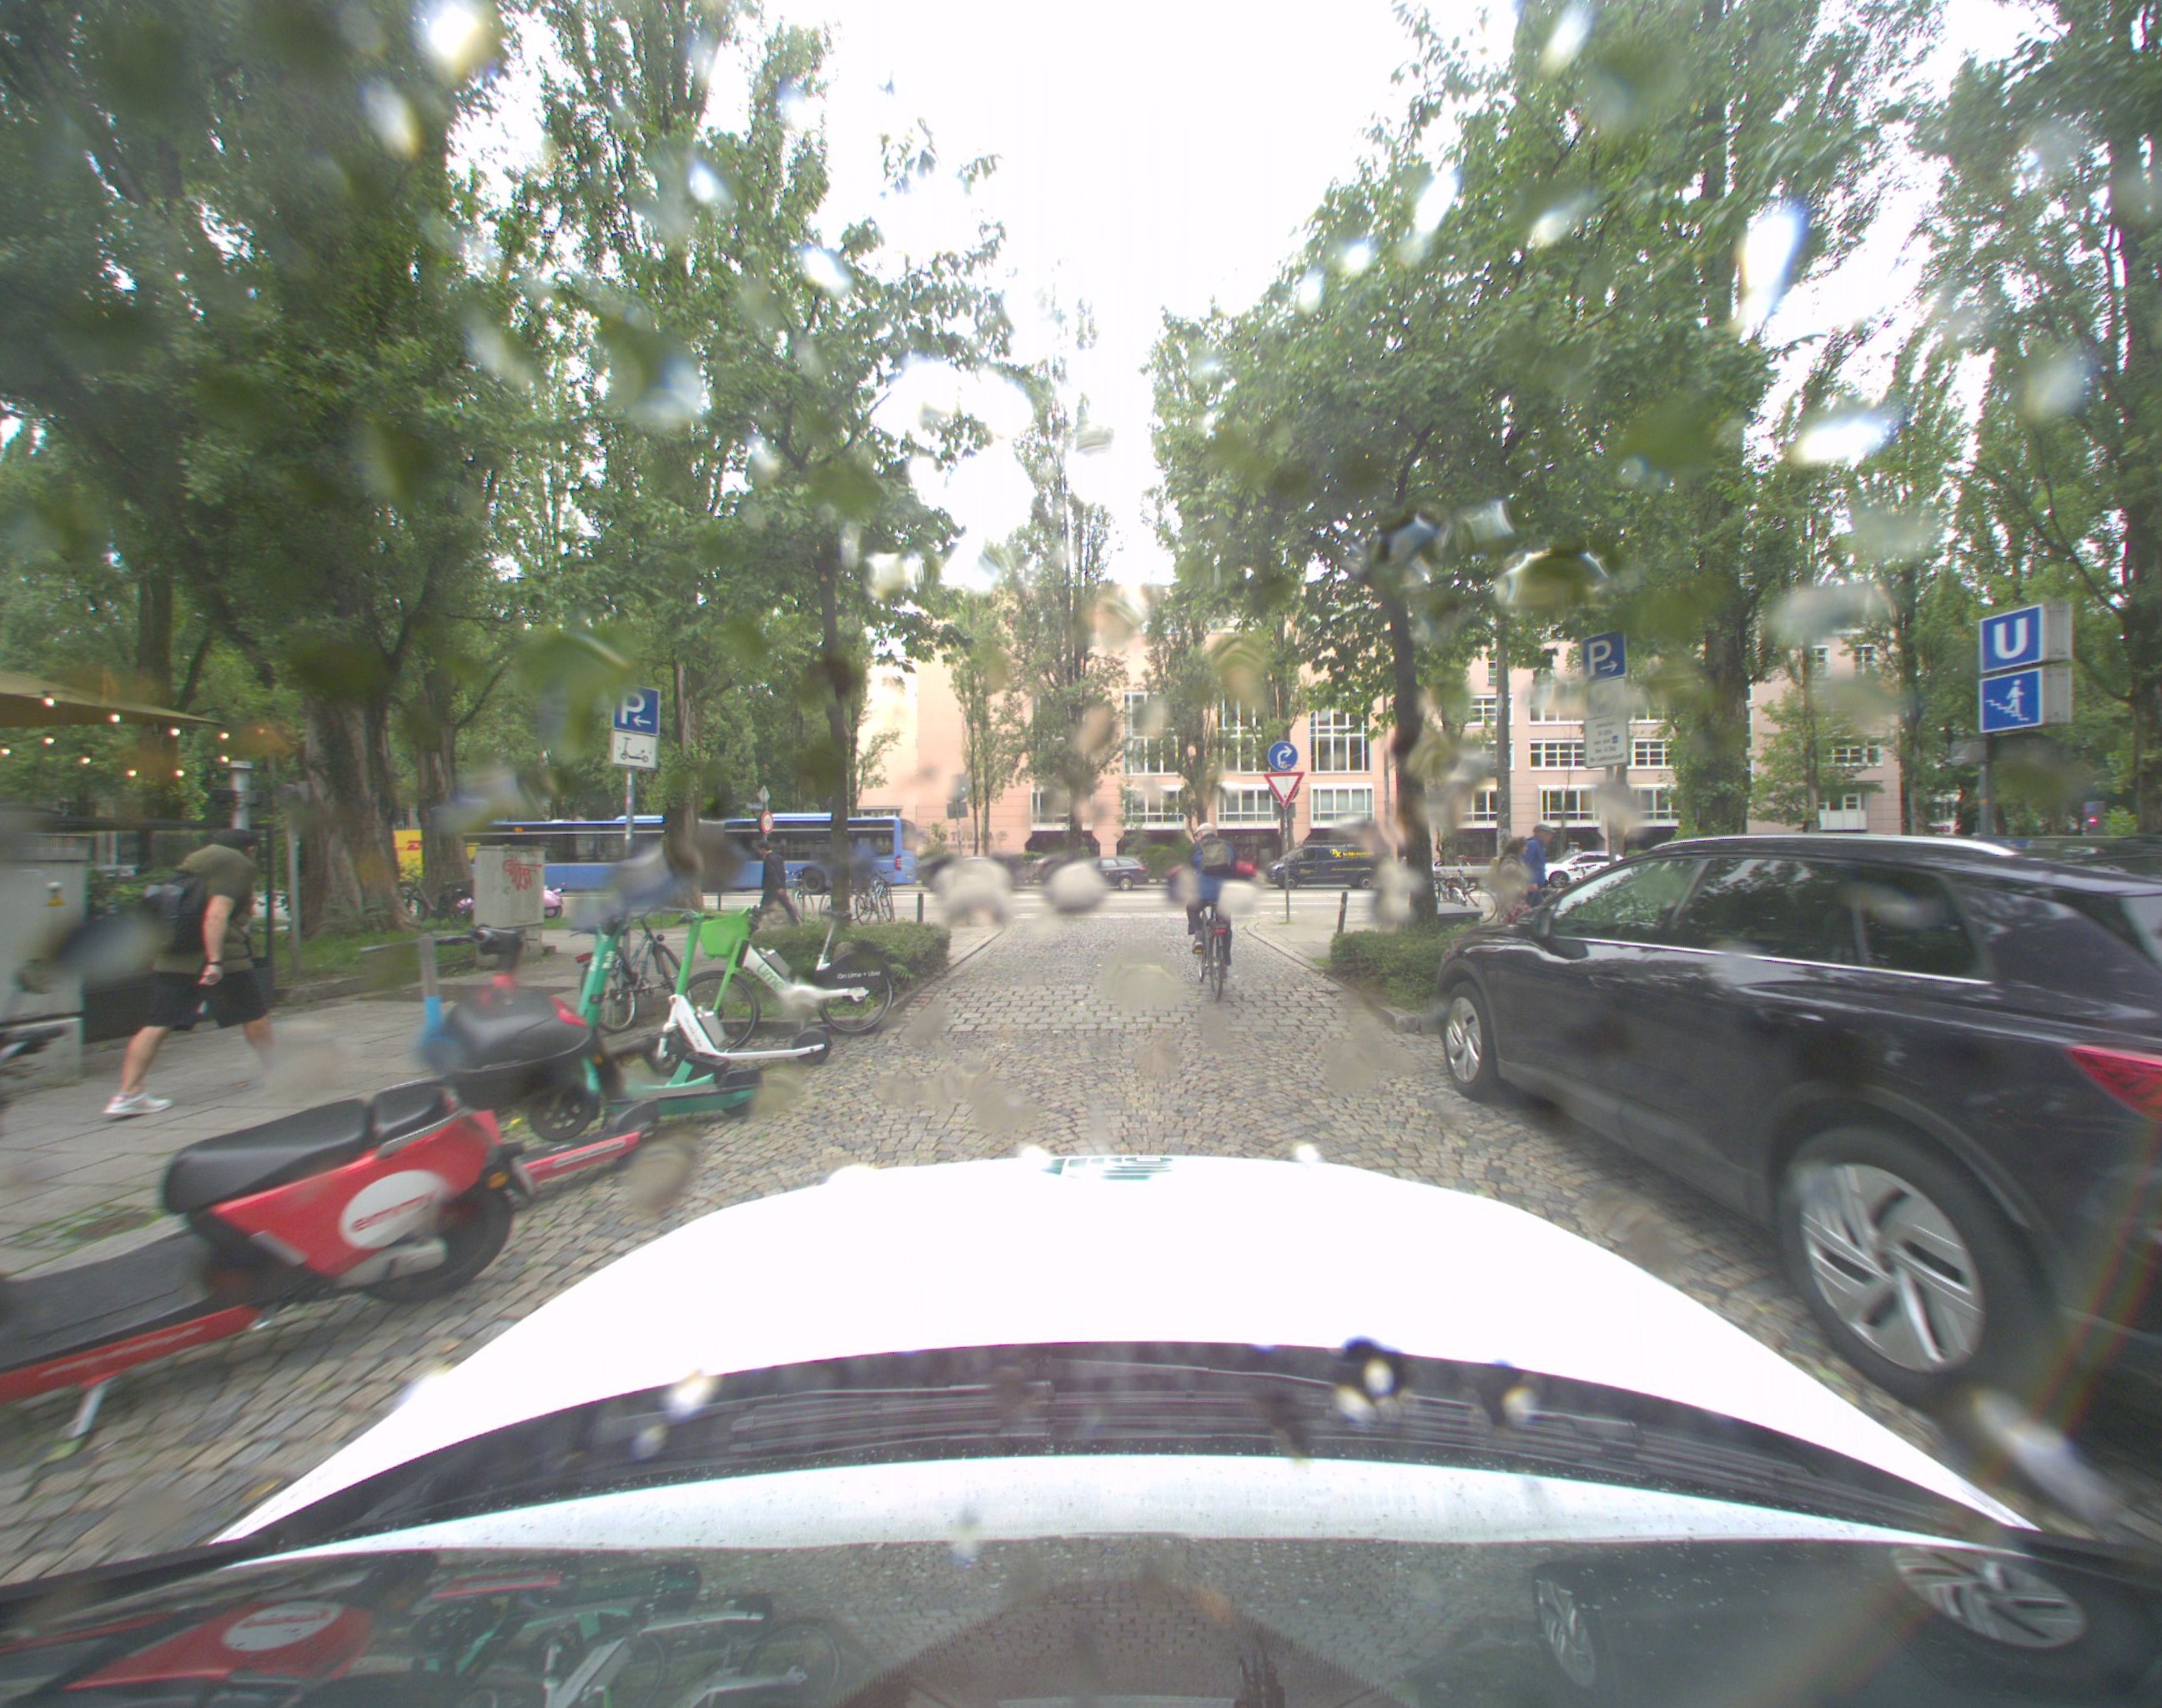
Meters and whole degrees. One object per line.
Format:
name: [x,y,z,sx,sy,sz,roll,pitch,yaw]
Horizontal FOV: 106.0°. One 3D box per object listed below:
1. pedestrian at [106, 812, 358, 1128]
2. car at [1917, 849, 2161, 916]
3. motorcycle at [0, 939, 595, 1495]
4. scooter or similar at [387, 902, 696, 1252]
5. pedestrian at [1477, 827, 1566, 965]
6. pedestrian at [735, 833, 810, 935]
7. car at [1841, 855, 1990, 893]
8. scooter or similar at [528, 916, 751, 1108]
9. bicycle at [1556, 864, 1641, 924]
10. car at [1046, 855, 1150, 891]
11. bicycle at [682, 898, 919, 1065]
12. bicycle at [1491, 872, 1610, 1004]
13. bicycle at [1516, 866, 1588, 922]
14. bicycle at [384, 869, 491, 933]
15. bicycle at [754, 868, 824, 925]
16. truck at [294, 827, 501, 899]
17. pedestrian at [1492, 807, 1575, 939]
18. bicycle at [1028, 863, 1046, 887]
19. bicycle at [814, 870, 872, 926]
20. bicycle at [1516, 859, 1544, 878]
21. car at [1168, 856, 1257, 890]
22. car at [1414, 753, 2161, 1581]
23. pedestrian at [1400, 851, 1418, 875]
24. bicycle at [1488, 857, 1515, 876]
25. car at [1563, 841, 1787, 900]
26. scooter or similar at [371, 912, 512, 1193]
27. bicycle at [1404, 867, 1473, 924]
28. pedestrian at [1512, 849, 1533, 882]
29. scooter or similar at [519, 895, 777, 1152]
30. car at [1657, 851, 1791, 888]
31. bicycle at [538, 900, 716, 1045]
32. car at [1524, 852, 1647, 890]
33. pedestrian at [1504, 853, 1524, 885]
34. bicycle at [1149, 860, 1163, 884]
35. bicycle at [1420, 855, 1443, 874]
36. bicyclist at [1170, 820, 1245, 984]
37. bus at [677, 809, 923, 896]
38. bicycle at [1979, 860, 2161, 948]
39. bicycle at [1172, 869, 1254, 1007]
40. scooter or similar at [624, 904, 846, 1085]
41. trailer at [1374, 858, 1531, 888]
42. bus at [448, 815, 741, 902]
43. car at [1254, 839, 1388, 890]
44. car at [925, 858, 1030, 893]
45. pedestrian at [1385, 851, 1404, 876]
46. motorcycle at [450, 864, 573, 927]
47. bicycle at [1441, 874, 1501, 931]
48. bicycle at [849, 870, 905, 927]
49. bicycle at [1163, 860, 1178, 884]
pedestrian: [-5.130,0.656,4.973,0.747,1.773,0.706,1,0,2]
car: [23.456,0.663,20.031,3.877,1.526,1.751,0,1,4]
motorcycle: [-2.678,0.957,2.435,2.001,1.196,0.762,-1,0,-41]
scooter or similar: [-2.438,0.909,3.862,0.324,1.273,1.362,-1,0,13]
pedestrian: [5.570,0.520,10.332,0.837,1.680,0.613,-1,0,12]
pedestrian: [-5.435,0.514,14.386,0.952,1.711,0.858,-1,0,1]
car: [35.894,0.849,35.130,4.291,1.542,2.002,-1,0,4]
scooter or similar: [-2.784,0.984,5.167,1.242,1.144,0.328,-1,0,3]
bicycle: [10.154,0.761,16.058,0.509,1.105,1.932,-1,-1,3]
car: [0.787,0.829,36.859,4.589,1.529,1.795,-1,0,3]
bicycle: [-2.263,0.974,6.652,1.767,1.143,0.549,0,0,-29]
bicycle: [4.716,0.781,8.302,0.471,1.136,1.882,-1,0,12]
bicycle: [9.309,0.769,16.164,0.472,1.050,1.879,-1,-1,5]
bicycle: [-12.319,0.887,15.607,1.604,1.188,0.584,-1,0,2]
bicycle: [-6.075,0.860,17.068,0.487,1.093,1.988,-1,0,8]
truck: [-29.788,0.397,35.643,7.025,2.907,2.604,-1,0,4]
pedestrian: [6.031,0.244,10.886,0.798,1.696,0.666,-1,0,12]
bicycle: [-2.214,1.054,41.459,0.671,1.124,1.991,-1,0,4]
bicycle: [-4.978,0.900,17.120,0.487,1.093,1.707,-1,0,8]
bicycle: [26.934,0.860,48.870,0.671,1.124,1.991,-1,0,4]
car: [5.811,0.854,36.406,3.841,1.449,1.681,-1,0,5]
car: [3.218,0.643,3.549,1.913,1.700,4.202,0,0,1]
pedestrian: [18.492,0.497,45.953,0.726,1.369,0.710,0,0,4]
bicycle: [25.471,0.758,49.315,0.671,1.124,2.109,-1,0,4]
car: [15.163,0.397,21.001,4.410,1.427,1.760,0,1,6]
scooter or similar: [-3.343,0.944,4.328,0.391,1.180,1.239,0,0,-29]
bicycle: [7.092,0.802,16.238,0.473,1.050,1.875,-1,-1,-2]
pedestrian: [23.131,0.608,42.664,0.726,1.713,0.710,0,0,4]
scooter or similar: [-2.426,0.896,4.651,1.254,1.273,0.324,0,0,-28]
car: [28.169,0.649,35.773,4.295,1.542,2.000,-1,0,1]
bicycle: [-3.925,0.969,7.210,0.550,1.022,1.763,-1,0,1]
car: [21.921,0.761,35.505,4.200,1.542,1.809,-1,-1,5]
pedestrian: [23.427,0.791,44.069,0.726,1.713,0.710,0,0,4]
bicycle: [3.748,0.888,40.749,0.671,1.124,1.744,-1,0,4]
bicycle: [21.325,0.601,49.533,0.671,1.124,1.991,-1,0,4]
bicyclist: [1.294,0.475,8.424,0.718,1.619,0.758,-1,0,7]
bus: [-10.700,-0.043,31.590,8.454,3.052,2.929,-1,0,3]
bicycle: [13.828,0.674,11.273,1.849,1.160,0.590,0,0,15]
bicycle: [1.330,0.799,8.510,0.713,1.147,1.904,-1,3,5]
scooter or similar: [-2.460,0.969,5.896,1.431,1.144,0.367,0,0,-22]
trailer: [16.323,0.828,36.089,5.883,1.199,2.407,-1,0,4]
bus: [-18.794,0.176,31.868,9.726,3.052,2.928,-1,0,2]
car: [10.648,0.457,36.429,5.456,2.197,2.025,-1,0,3]
car: [-4.680,0.958,37.189,4.481,1.529,1.795,-1,0,3]
pedestrian: [17.700,0.534,45.995,0.710,1.369,0.725,0,0,-26]
motorcycle: [-11.685,0.817,16.753,2.002,1.196,0.622,-1,0,-41]
bicycle: [7.992,0.963,16.750,0.472,1.050,1.879,-1,0,5]
bicycle: [-4.211,0.890,16.922,0.487,1.093,1.707,-1,0,8]
bicycle: [4.458,0.896,40.706,0.671,1.124,1.744,-1,0,4]
